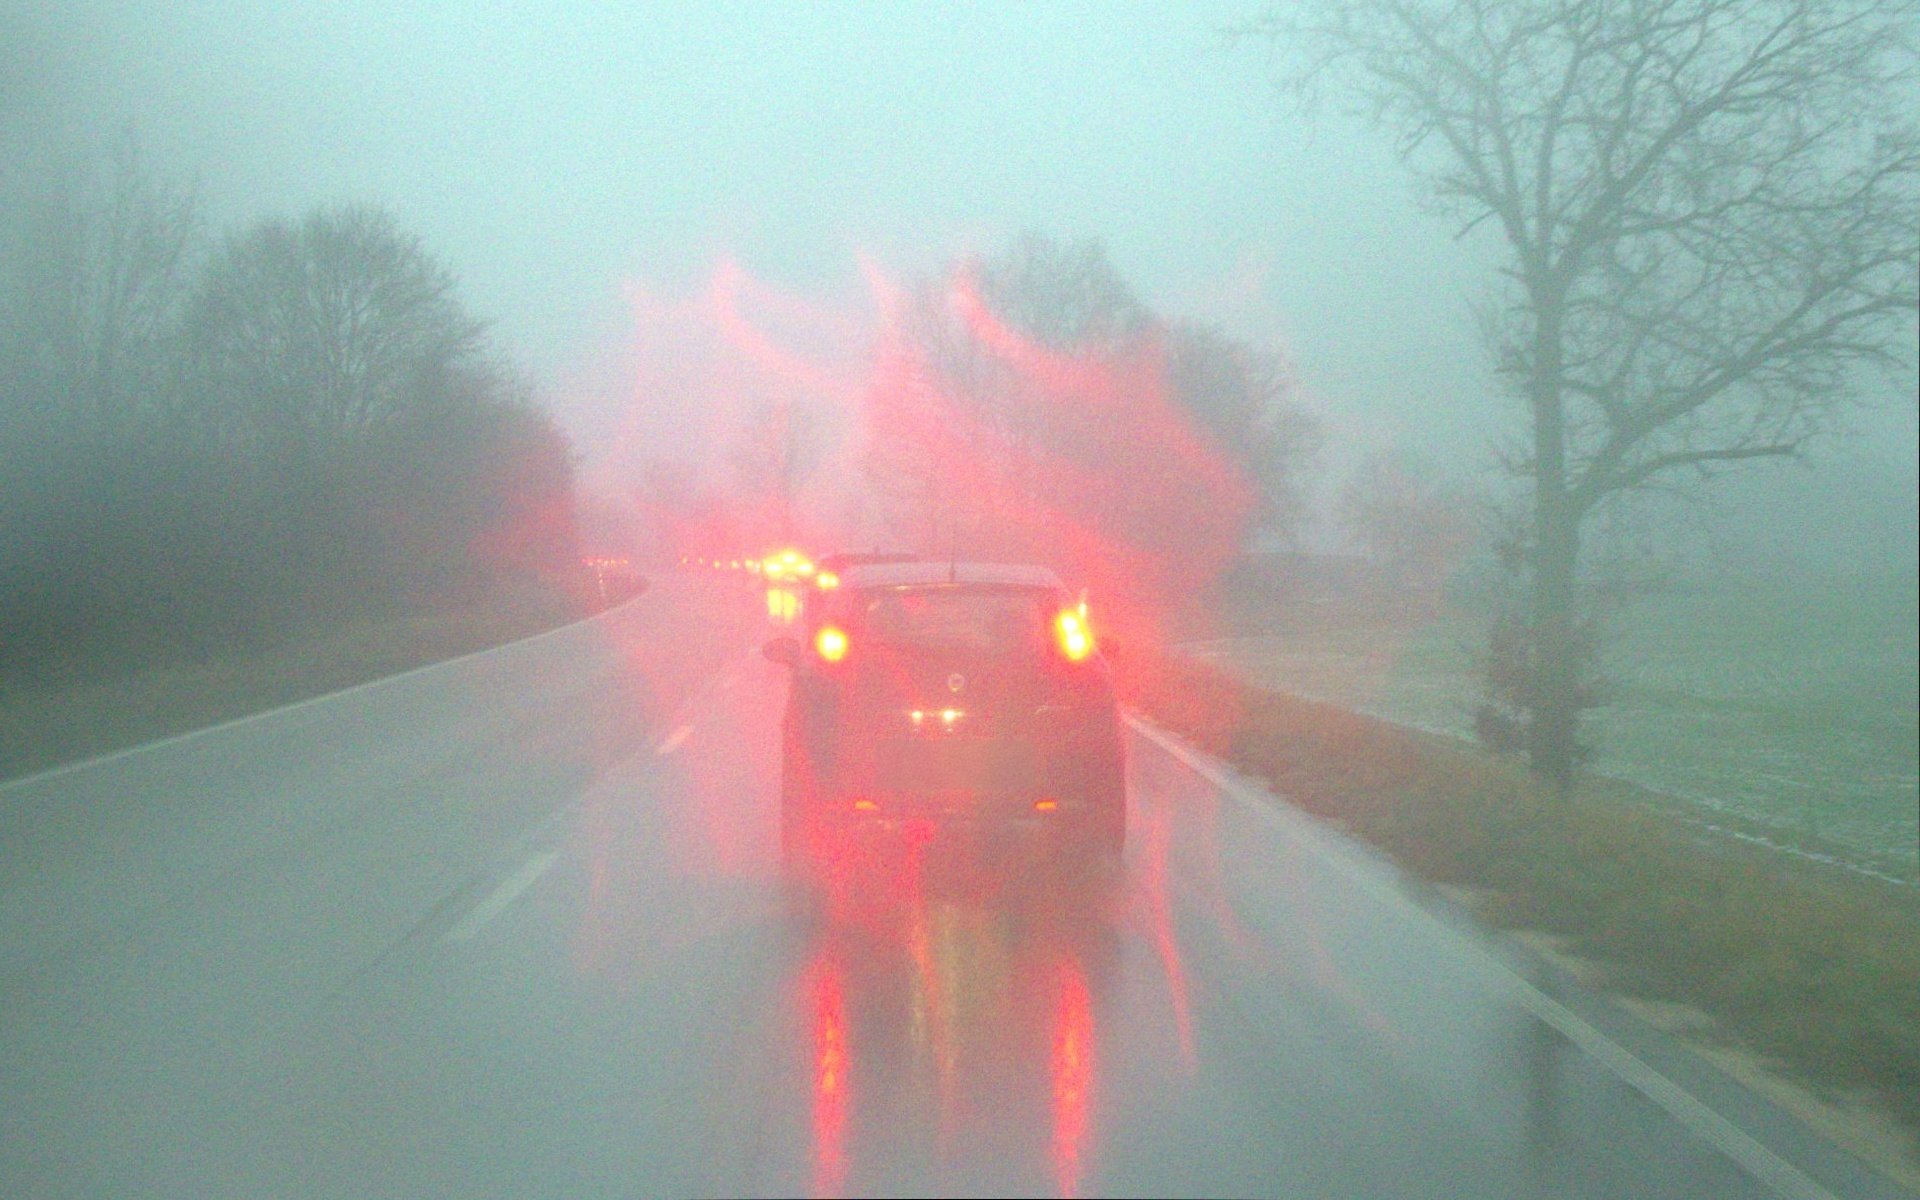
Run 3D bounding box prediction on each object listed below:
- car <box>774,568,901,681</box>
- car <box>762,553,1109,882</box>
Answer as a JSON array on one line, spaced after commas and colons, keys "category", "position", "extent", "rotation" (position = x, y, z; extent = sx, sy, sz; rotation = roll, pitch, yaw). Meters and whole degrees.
[{"category": "car", "position": [-1.641, 0.285, 44.991], "extent": [1.546, 1.392, 3.870], "rotation": [1, 1, -4]}, {"category": "car", "position": [-0.145, 0.532, 18.023], "extent": [1.602, 1.517, 3.870], "rotation": [1, 1, -1]}]
